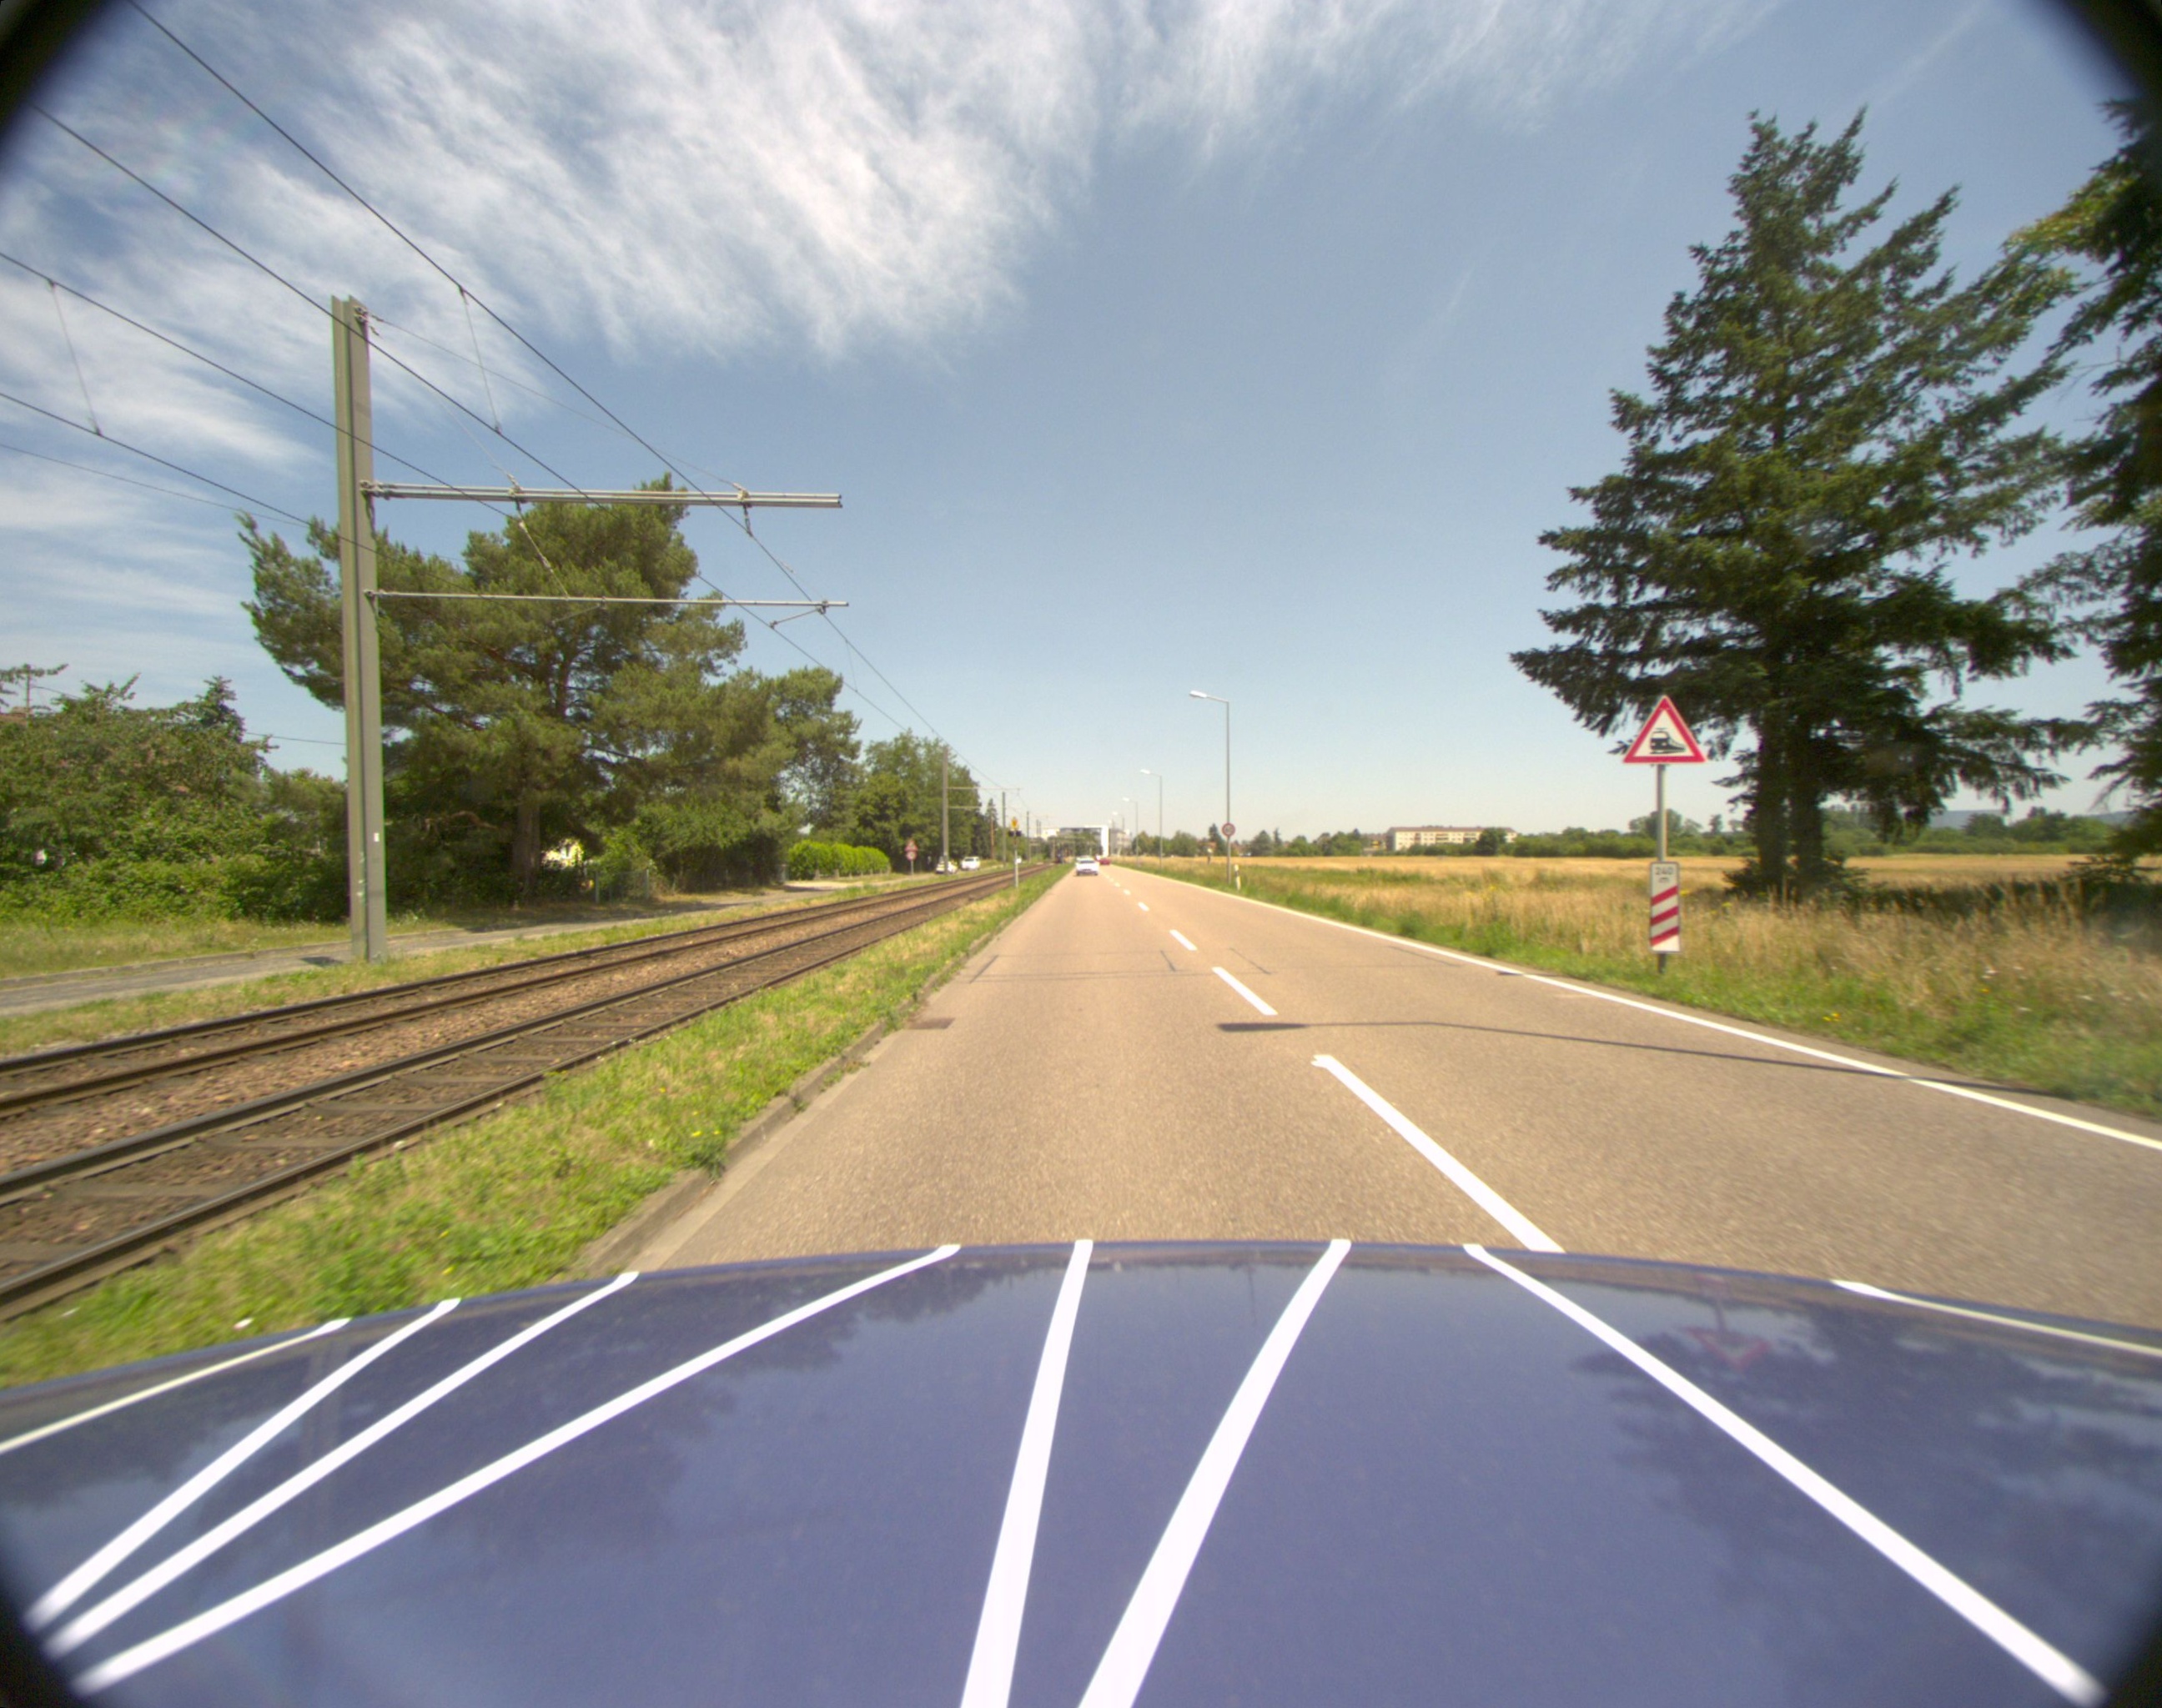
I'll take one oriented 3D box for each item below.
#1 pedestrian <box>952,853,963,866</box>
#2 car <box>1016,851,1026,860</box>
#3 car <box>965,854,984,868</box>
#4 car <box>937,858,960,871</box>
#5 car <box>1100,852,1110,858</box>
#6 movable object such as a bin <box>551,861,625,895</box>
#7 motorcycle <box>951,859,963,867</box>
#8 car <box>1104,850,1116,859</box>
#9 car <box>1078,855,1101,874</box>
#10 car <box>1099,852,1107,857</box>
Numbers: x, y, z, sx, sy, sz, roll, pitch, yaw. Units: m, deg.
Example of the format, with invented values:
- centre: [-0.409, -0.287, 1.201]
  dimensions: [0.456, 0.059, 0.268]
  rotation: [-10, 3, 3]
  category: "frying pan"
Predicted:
- centre: [-15.977, 0.719, 98.168]
  dimensions: [1.171, 1.653, 0.880]
  rotation: [-2, 1, 5]
  category: "pedestrian"
- centre: [-14.666, 0.470, 186.177]
  dimensions: [1.944, 2.111, 4.587]
  rotation: [-2, 1, 1]
  category: "car"
- centre: [-15.121, 0.951, 108.184]
  dimensions: [1.863, 1.816, 4.587]
  rotation: [-2, 1, 1]
  category: "car"
- centre: [-15.377, 1.238, 88.528]
  dimensions: [1.923, 1.376, 4.000]
  rotation: [-2, 1, 1]
  category: "car"
- centre: [6.176, 0.262, 195.598]
  dimensions: [2.254, 1.254, 4.365]
  rotation: [-2, 1, 1]
  category: "car"
- centre: [-24.989, 1.174, 38.612]
  dimensions: [1.998, 1.622, 2.694]
  rotation: [0, 0, 0]
  category: "movable object such as a bin"
- centre: [-15.985, 1.177, 98.363]
  dimensions: [0.858, 0.902, 2.791]
  rotation: [-2, 1, 5]
  category: "motorcycle"
- centre: [5.677, 0.168, 148.900]
  dimensions: [2.254, 1.677, 3.889]
  rotation: [-2, 1, 1]
  category: "car"
- centre: [0.746, 0.866, 64.520]
  dimensions: [1.856, 1.447, 3.706]
  rotation: [-2, 1, 1]
  category: "car"
- centre: [6.004, 0.022, 206.430]
  dimensions: [2.254, 1.254, 3.889]
  rotation: [-2, 1, 1]
  category: "car"
